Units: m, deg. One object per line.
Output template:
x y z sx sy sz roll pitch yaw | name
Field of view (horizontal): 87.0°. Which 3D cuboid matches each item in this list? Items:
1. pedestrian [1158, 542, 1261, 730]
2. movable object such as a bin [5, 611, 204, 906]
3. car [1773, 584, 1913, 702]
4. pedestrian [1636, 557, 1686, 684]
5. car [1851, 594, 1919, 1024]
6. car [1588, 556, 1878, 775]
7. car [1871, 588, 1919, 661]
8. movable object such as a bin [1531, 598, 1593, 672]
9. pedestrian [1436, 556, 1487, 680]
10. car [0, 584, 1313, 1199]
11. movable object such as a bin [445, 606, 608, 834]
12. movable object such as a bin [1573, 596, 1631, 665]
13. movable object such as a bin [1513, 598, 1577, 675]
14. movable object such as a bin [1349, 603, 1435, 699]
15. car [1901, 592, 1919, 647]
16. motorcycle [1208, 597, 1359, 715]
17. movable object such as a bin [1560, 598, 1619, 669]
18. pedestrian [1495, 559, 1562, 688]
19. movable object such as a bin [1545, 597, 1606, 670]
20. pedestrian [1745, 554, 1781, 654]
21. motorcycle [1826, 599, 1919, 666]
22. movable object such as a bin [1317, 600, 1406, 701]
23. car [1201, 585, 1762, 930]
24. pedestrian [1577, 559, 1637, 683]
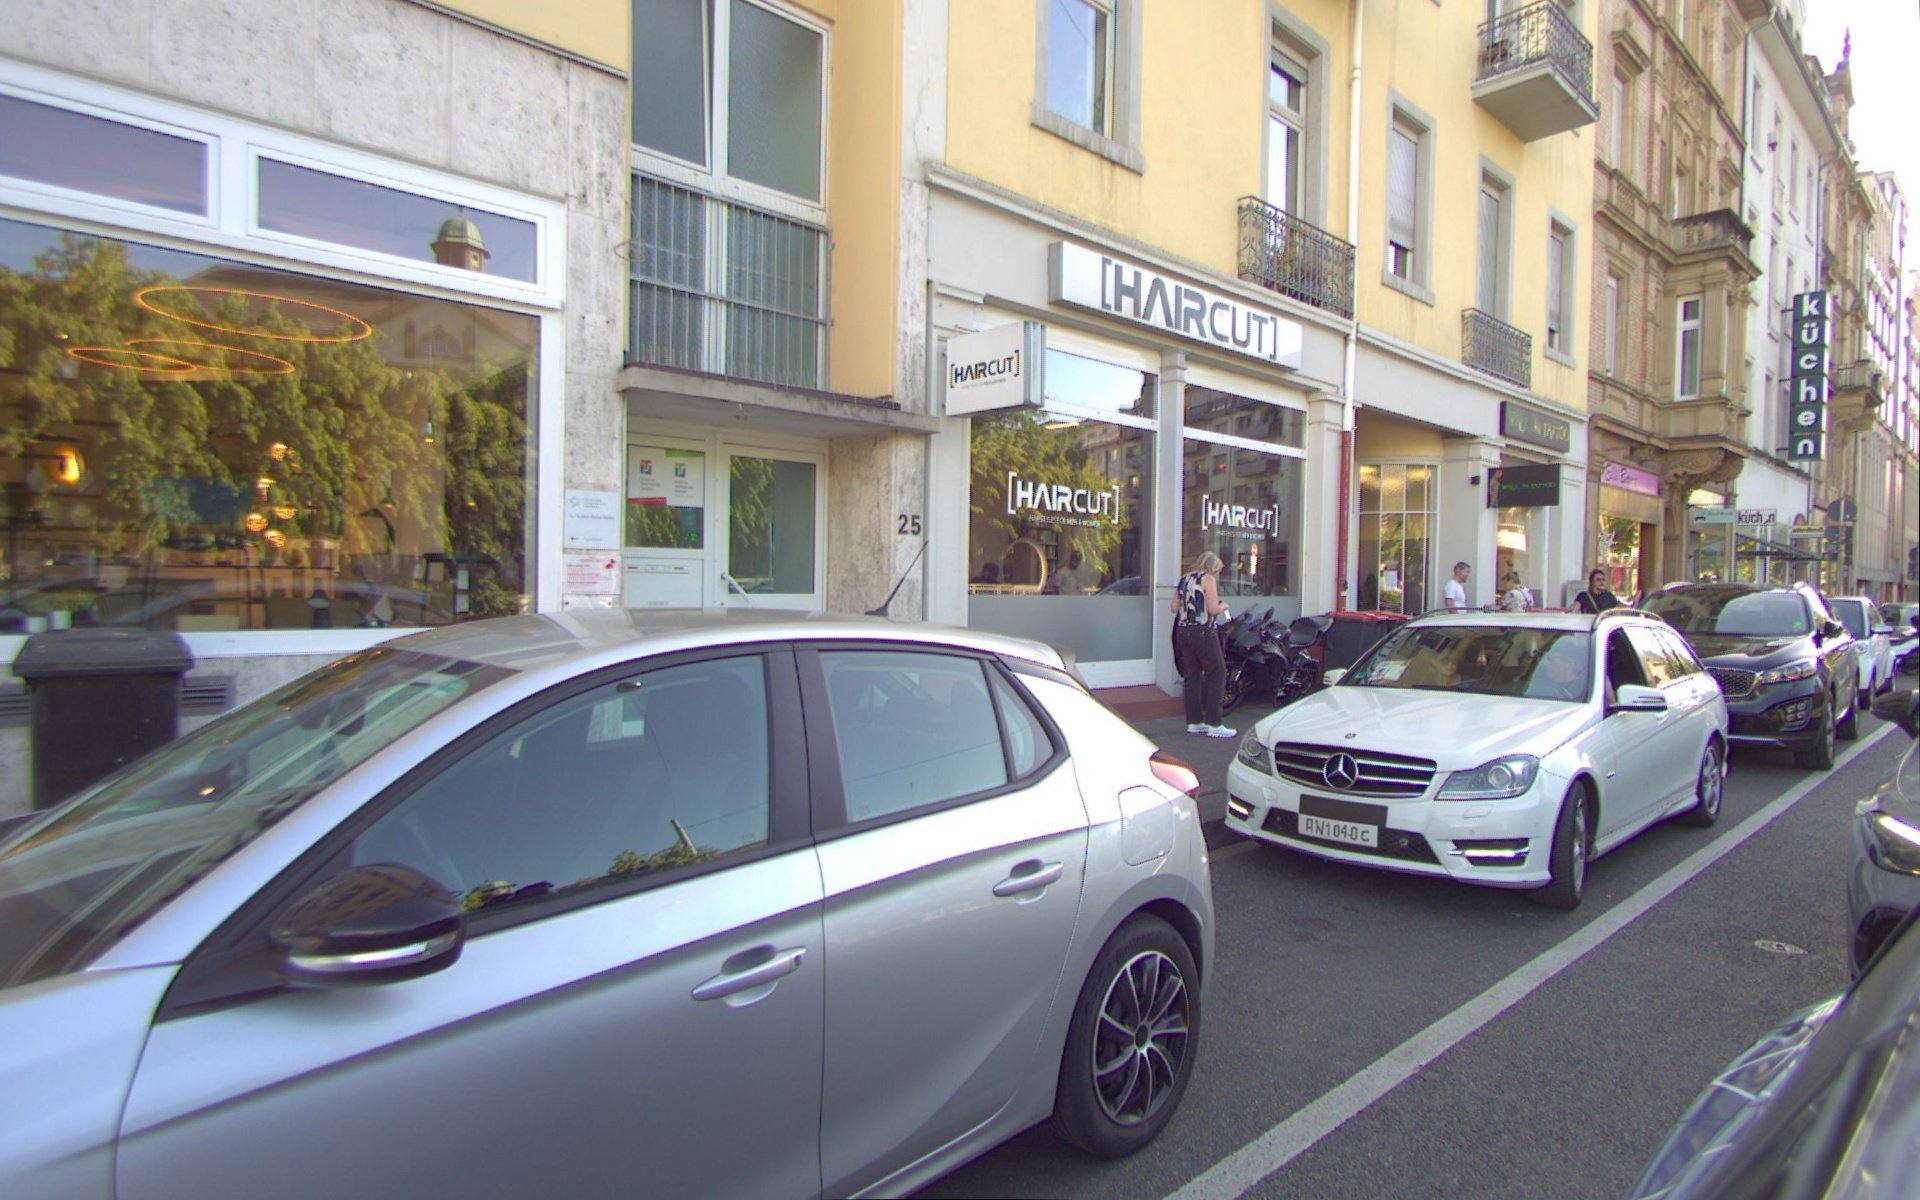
2.294 0.300 9.330 0.523 1.653 0.697 0 2 -43 | pedestrian
-3.669 0.618 4.361 0.609 1.080 0.704 0 4 -41 | movable object such as a bin
12.827 0.546 14.658 2.748 1.537 1.273 0 1 -44 | car
9.401 0.263 13.580 0.409 1.653 0.512 1 0 20 | pedestrian
5.374 0.719 4.311 4.297 1.467 1.846 0 1 -41 | car
8.048 0.501 10.357 4.498 1.758 1.756 0 1 -45 | car
22.109 0.521 23.021 4.096 1.537 1.734 0 1 -44 | car
9.301 0.526 15.649 0.608 1.079 0.606 0 4 -41 | movable object such as a bin
6.960 0.245 14.057 0.516 1.681 0.337 2 1 15 | pedestrian
-0.884 0.695 2.432 4.010 1.445 1.671 0 1 -44 | car
-2.363 0.601 5.500 0.609 1.080 0.704 0 4 -41 | movable object such as a bin
10.712 0.501 16.879 0.608 1.079 0.606 0 4 -41 | movable object such as a bin
8.812 0.532 15.242 0.608 1.079 0.606 0 4 -41 | movable object such as a bin
5.055 0.579 11.856 0.608 1.037 0.669 0 3 -38 | movable object such as a bin
26.637 0.510 27.114 3.736 1.435 1.736 0 1 -41 | car
3.399 0.534 10.535 1.975 1.105 0.551 0 3 -42 | motorcycle
10.230 0.527 16.449 0.608 1.079 0.606 0 4 -41 | movable object such as a bin
7.628 0.303 13.597 0.582 1.681 0.451 2 1 4 | pedestrian
9.759 0.520 16.042 0.608 1.079 0.606 0 4 -41 | movable object such as a bin
14.534 0.066 18.309 0.473 1.785 0.434 0 0 -41 | pedestrian
19.023 0.656 20.470 2.137 1.295 0.866 1 0 7 | motorcycle
4.536 0.552 11.448 0.608 1.054 0.661 0 3 -38 | movable object such as a bin
3.548 0.655 6.448 4.387 1.465 1.741 0 1 -42 | car
8.828 0.270 13.829 0.612 1.653 0.459 1 0 26 | pedestrian
